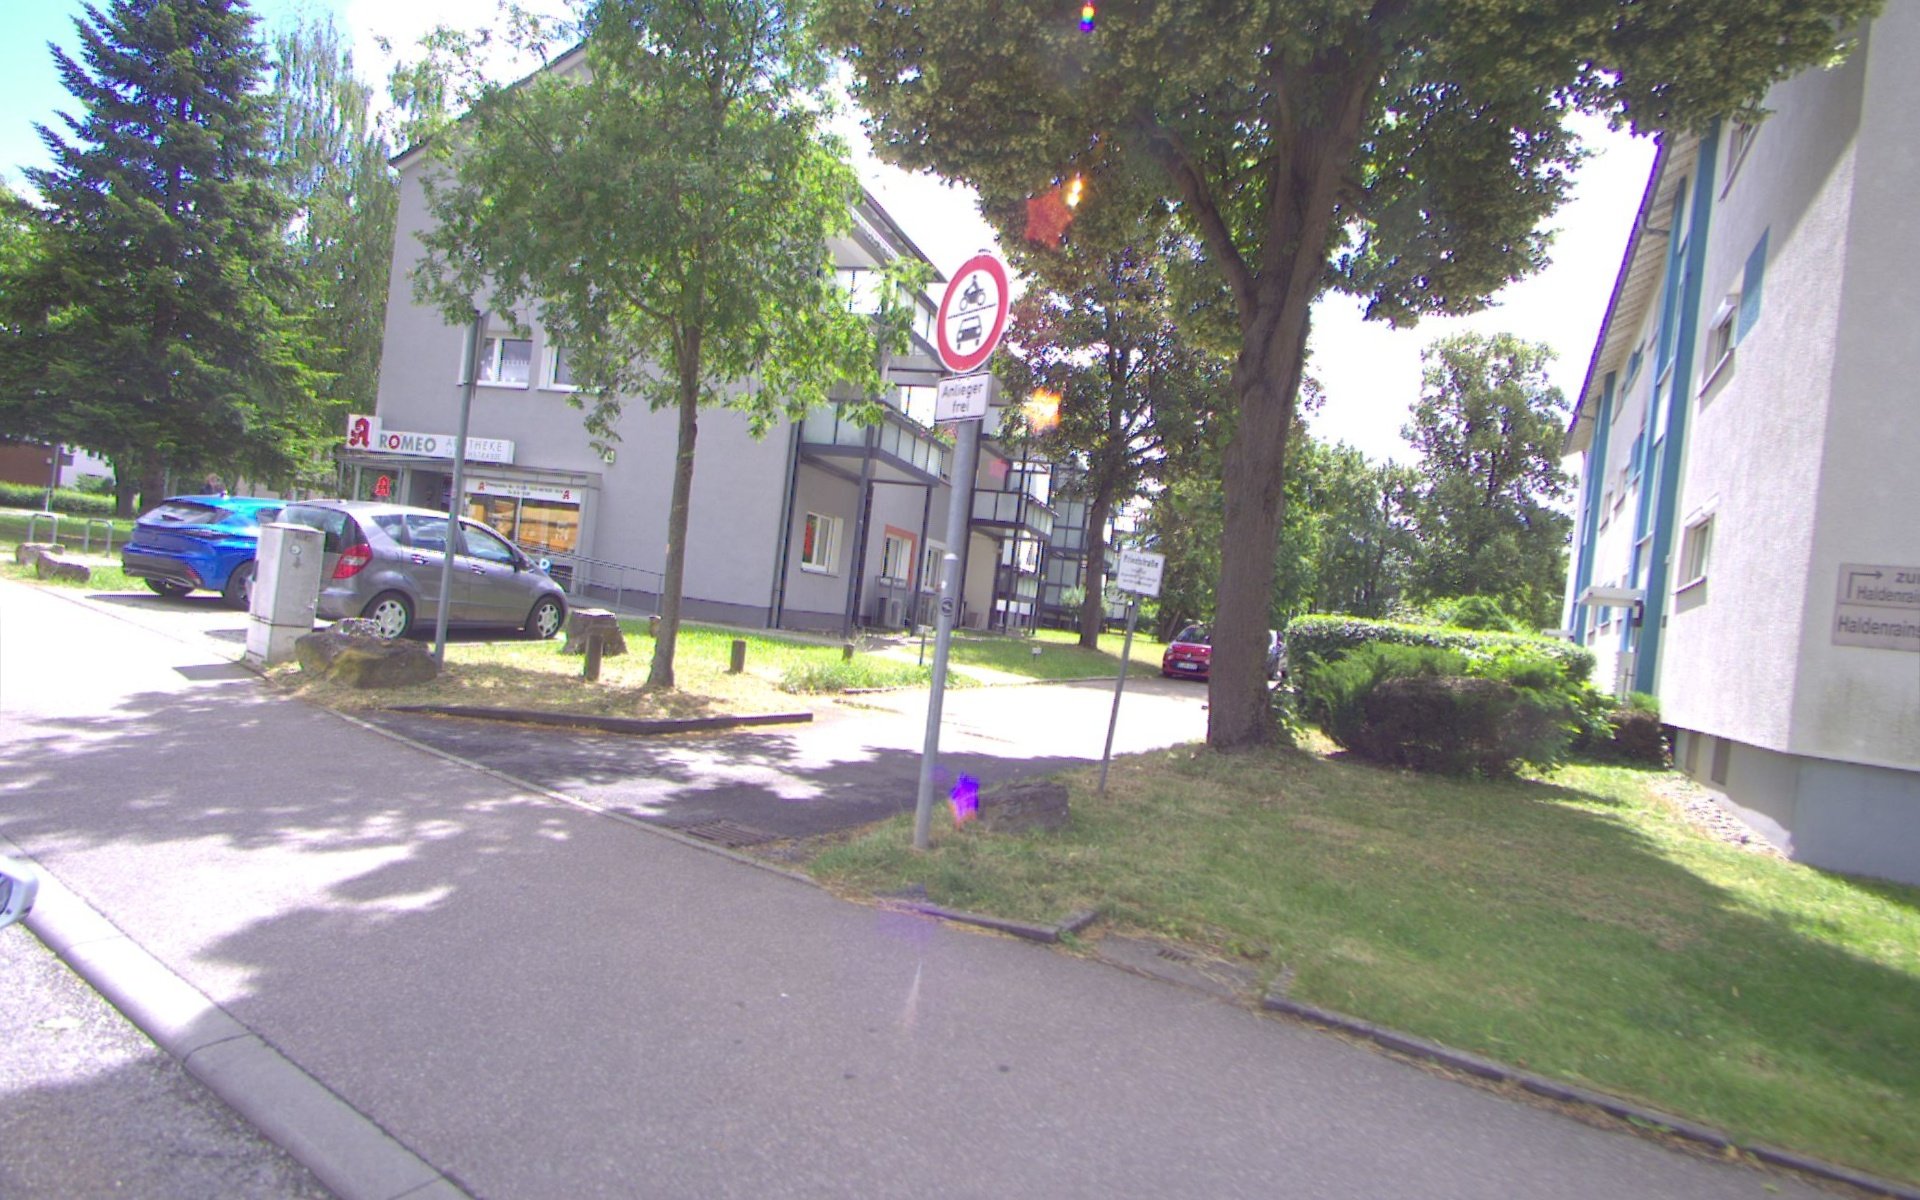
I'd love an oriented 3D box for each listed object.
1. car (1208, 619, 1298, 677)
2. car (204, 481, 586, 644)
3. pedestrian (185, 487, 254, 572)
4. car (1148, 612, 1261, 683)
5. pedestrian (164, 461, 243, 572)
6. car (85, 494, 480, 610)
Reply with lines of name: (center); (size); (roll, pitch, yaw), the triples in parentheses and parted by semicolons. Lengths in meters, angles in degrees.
car: (9.427, 1.546, 32.184); (1.885, 1.522, 3.994); (7, 0, 27)
car: (-6.901, -0.421, 12.746); (1.994, 1.578, 3.736); (7, 2, 20)
pedestrian: (-14.600, -1.381, 19.852); (0.678, 1.549, 0.743); (7, 1, 23)
car: (6.688, 1.324, 27.226); (1.702, 1.520, 3.876); (7, -2, 32)
pedestrian: (-15.082, -1.658, 20.068); (1.027, 2.039, 0.655); (7, 1, 19)
car: (-9.572, -0.623, 14.730); (1.962, 1.260, 4.492); (7, 3, 18)
